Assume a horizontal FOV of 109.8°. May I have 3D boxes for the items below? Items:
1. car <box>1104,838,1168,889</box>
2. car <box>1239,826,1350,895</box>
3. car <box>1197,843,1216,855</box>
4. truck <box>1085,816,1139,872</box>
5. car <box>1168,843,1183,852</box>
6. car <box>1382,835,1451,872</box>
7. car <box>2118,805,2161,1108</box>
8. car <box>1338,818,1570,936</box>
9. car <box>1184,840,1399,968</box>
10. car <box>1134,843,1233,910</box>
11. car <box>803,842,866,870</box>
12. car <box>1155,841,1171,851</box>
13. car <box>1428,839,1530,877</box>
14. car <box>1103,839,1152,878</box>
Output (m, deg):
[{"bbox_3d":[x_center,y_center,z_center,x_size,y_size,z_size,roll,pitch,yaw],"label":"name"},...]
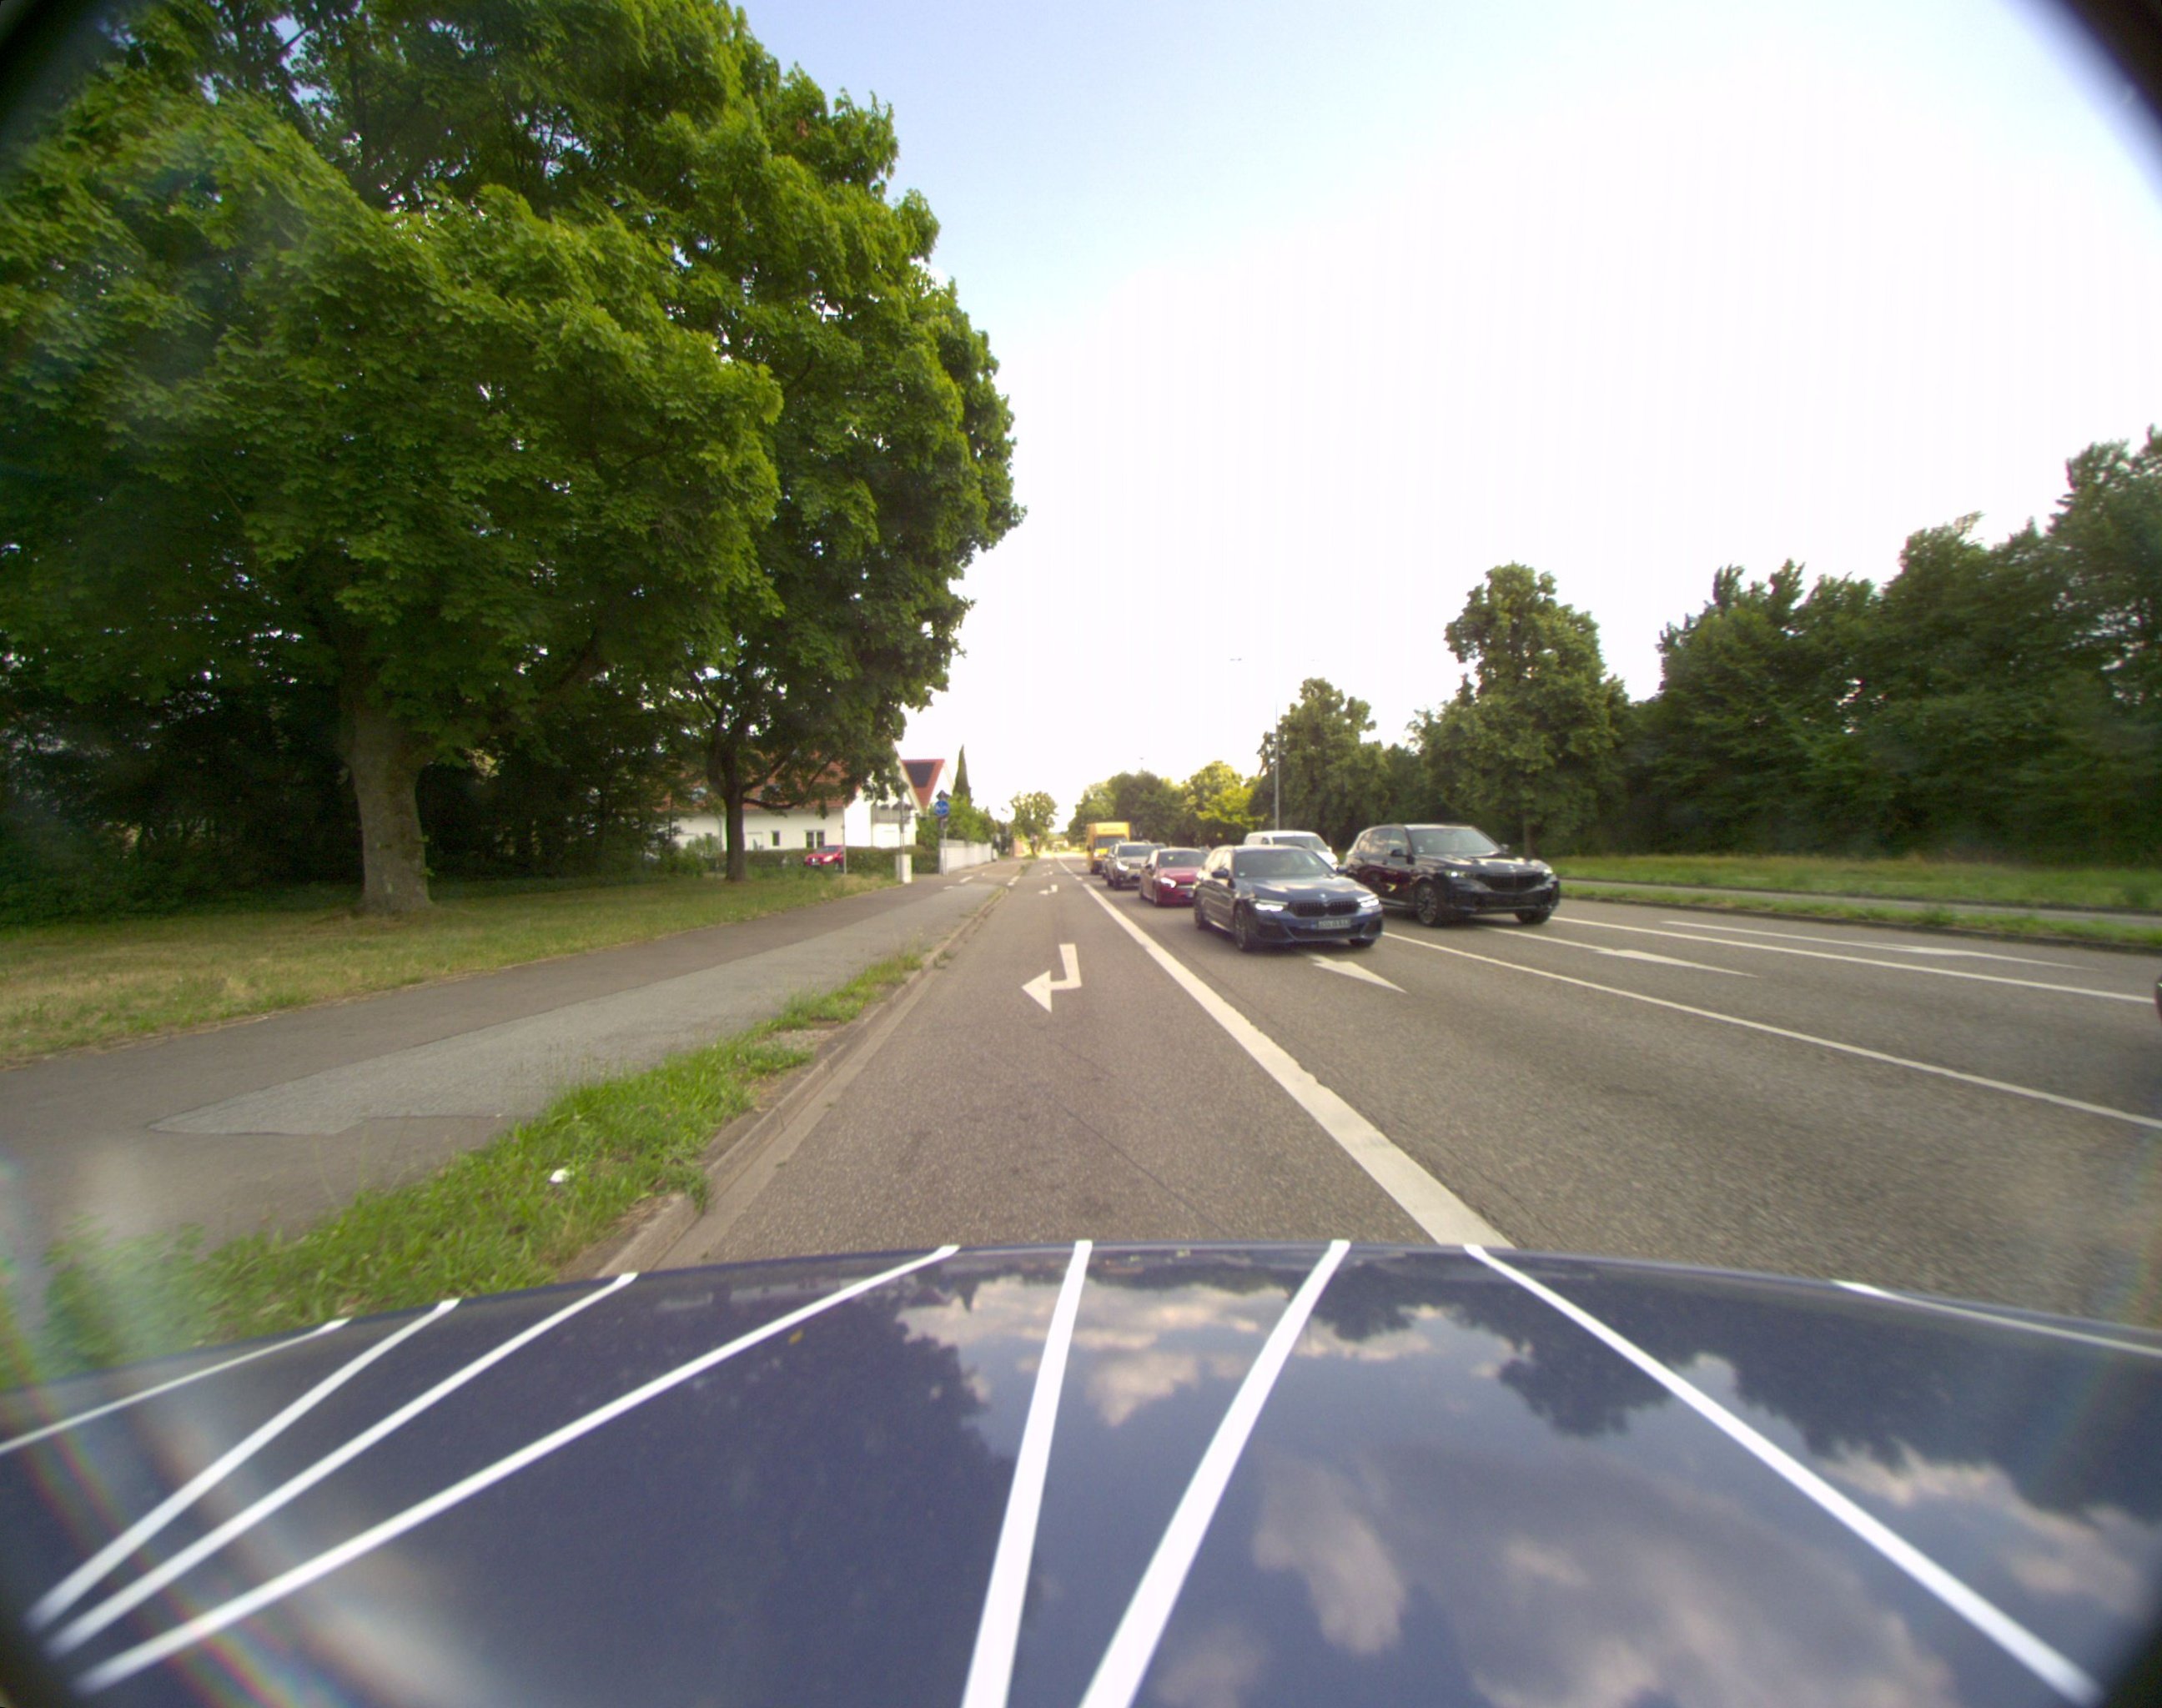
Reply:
[{"bbox_3d":[1.861,0.270,26.817,1.728,1.603,4.173,-2,2,-2],"label":"car"},{"bbox_3d":[6.205,0.120,22.649,1.770,1.788,4.728,-2,2,-2],"label":"car"},{"bbox_3d":[15.439,-0.635,93.787,1.465,1.363,3.656,0,1,-4],"label":"car"},{"bbox_3d":[1.650,-0.604,43.507,2.364,2.843,6.963,-3,1,-2],"label":"truck"},{"bbox_3d":[14.546,-0.997,116.837,1.672,1.379,4.236,1,1,-2],"label":"car"},{"bbox_3d":[17.693,-0.076,40.272,1.675,1.783,4.252,-1,2,-2],"label":"car"},{"bbox_3d":[6.658,0.544,2.048,1.703,1.610,4.358,-2,1,-2],"label":"car"},{"bbox_3d":[6.440,0.299,13.799,1.818,1.736,4.547,-2,2,-2],"label":"car"},{"bbox_3d":[2.970,0.580,11.935,1.801,1.488,4.870,-3,2,-2],"label":"car"},{"bbox_3d":[2.537,0.484,19.852,1.728,1.454,4.533,-3,1,-2],"label":"car"},{"bbox_3d":[-14.158,0.093,43.956,1.680,1.522,4.395,0,1,8],"label":"car"},{"bbox_3d":[11.770,-1.148,109.312,1.672,1.416,4.236,0,1,-2],"label":"car"},{"bbox_3d":[14.676,0.115,28.237,1.757,1.301,3.692,1,1,-2],"label":"car"},{"bbox_3d":[1.993,0.162,33.702,1.728,1.522,3.892,-3,2,-2],"label":"car"}]
